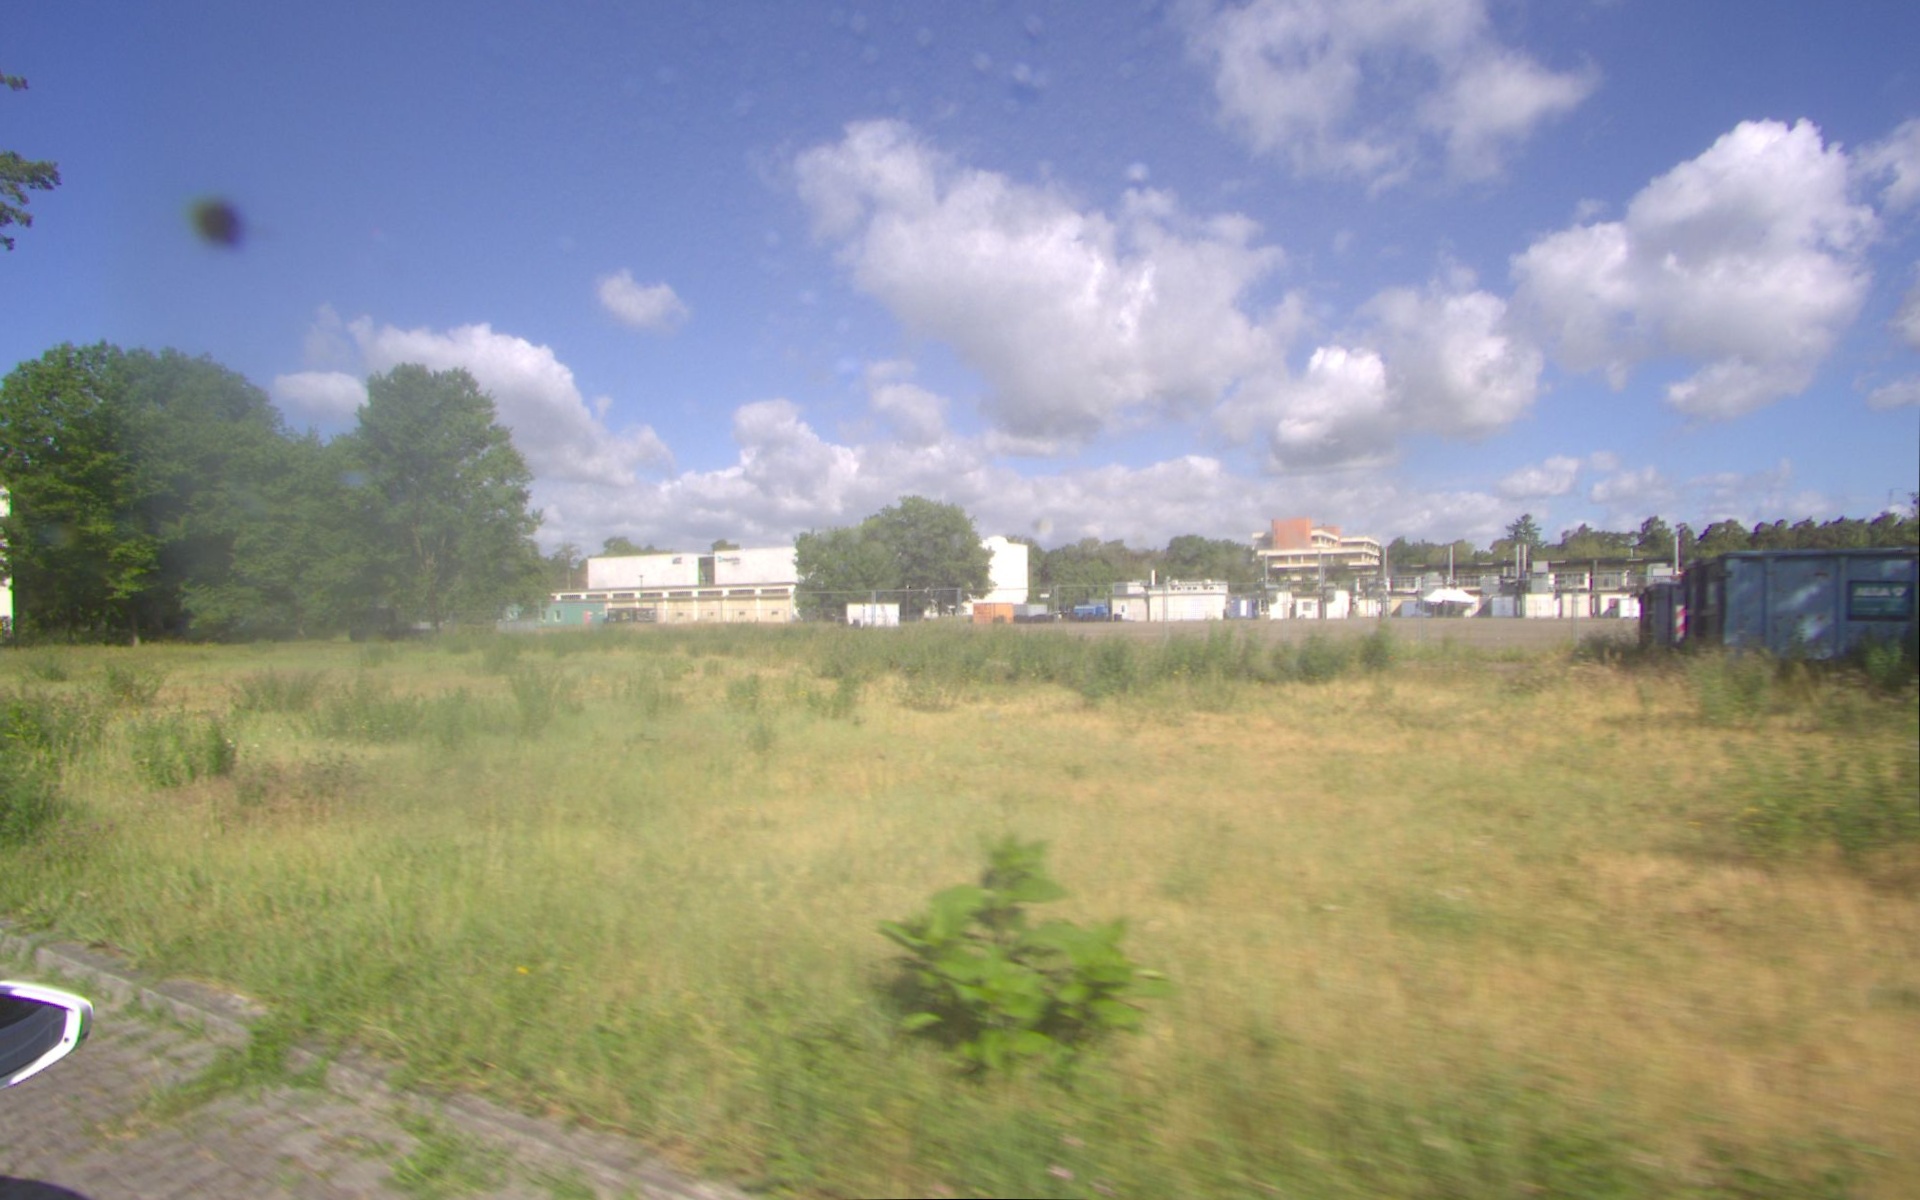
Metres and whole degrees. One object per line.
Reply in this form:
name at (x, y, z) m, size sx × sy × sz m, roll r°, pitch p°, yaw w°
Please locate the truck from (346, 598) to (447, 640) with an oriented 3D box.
truck at (-34.524, 1.210, 61.304) m, size 6.782 × 2.454 × 2.231 m, roll -1°, pitch -2°, yaw 29°
